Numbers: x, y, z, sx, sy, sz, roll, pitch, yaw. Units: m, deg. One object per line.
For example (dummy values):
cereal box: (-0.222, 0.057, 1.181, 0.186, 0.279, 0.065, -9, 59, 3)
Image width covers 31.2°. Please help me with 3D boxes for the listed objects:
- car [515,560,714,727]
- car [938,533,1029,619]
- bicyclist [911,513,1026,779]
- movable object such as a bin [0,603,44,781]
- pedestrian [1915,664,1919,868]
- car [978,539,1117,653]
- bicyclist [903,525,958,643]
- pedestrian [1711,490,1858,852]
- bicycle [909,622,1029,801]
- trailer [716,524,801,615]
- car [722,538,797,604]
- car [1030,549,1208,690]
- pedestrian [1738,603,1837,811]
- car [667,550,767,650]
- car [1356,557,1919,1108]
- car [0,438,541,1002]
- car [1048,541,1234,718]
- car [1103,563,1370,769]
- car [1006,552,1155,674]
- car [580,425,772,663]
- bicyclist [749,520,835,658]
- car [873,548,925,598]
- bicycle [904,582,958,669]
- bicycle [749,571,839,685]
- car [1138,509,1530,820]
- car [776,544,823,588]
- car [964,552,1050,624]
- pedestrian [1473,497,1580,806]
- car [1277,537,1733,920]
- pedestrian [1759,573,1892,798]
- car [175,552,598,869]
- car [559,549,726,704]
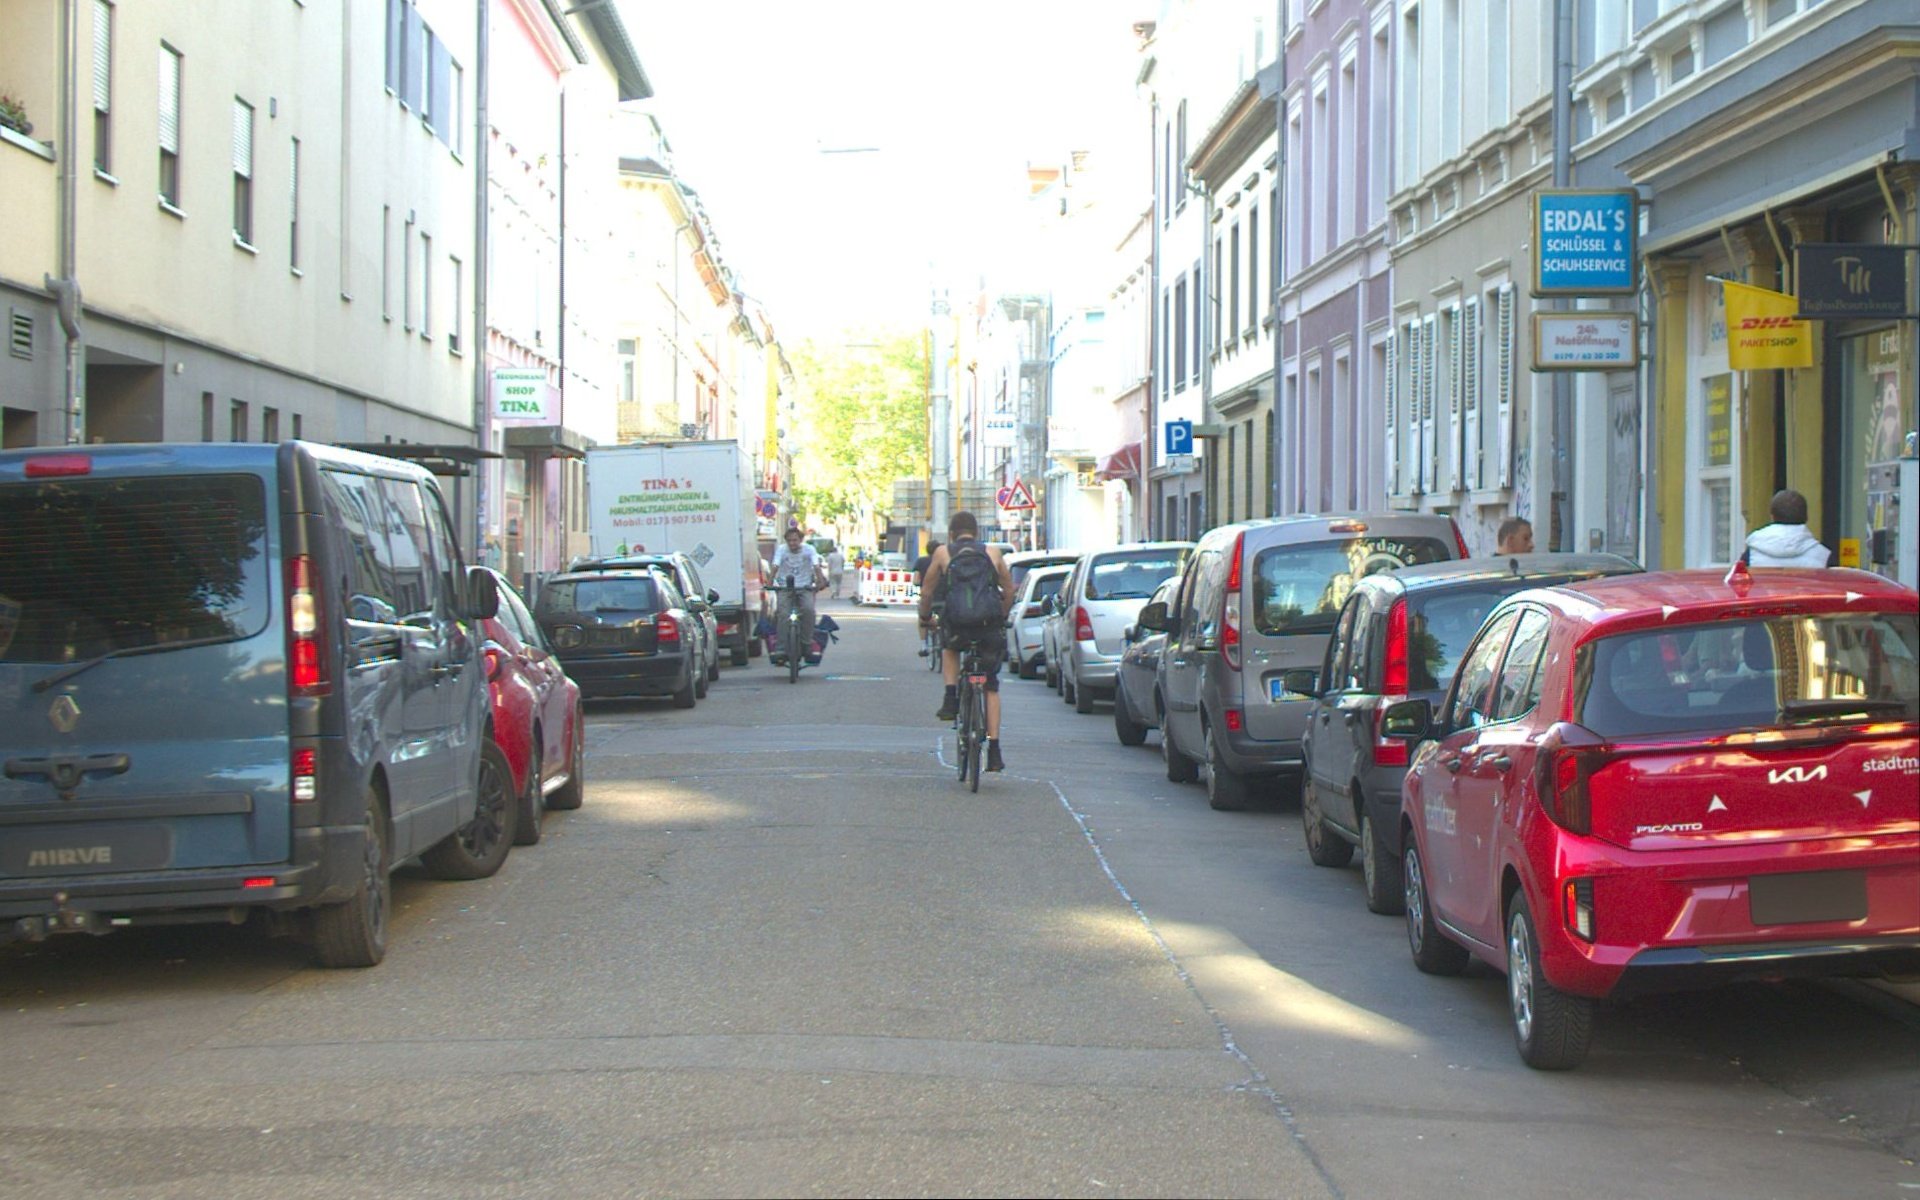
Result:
car: (-3.505, 0.391, 35.529, 1.716, 1.473, 4.499, -2, 2, -2)
car: (0.501, -0.544, 78.171, 1.750, 1.872, 3.973, -1, 0, -4)
bicyclist: (0.046, 0.288, 22.355, 0.667, 1.671, 1.097, 1, 0, -2)
movable object such as a bin: (-6.088, 0.546, 20.885, 0.759, 1.063, 0.651, 1, 0, 18)
pedestrian: (4.787, 0.369, 15.527, 0.628, 1.734, 0.659, 1, 0, -14)
car: (1.336, -0.091, 54.373, 1.918, 1.700, 4.366, 1, 1, -2)
bicyclist: (-0.398, -0.219, 46.451, 0.671, 1.562, 0.716, 1, 0, -3)
pedestrian: (4.028, 0.343, 16.812, 0.561, 1.734, 0.428, 1, 0, -4)
bicycle: (0.044, 0.700, 22.361, 0.677, 1.071, 1.942, 1, 0, -2)
trailer: (-4.746, -0.727, 81.338, 1.881, 2.085, 3.737, -1, 0, -2)
car: (-4.966, -0.719, 85.583, 1.750, 1.567, 3.796, -1, 0, -2)
car: (1.832, 0.204, 40.847, 1.696, 1.538, 4.629, -2, 0, -2)
pedestrian: (4.944, 0.631, 20.564, 0.438, 1.218, 0.514, 1, 0, 0)
car: (-4.629, -0.016, 65.949, 1.752, 1.810, 4.078, -2, 0, -2)
car: (2.426, 0.666, 11.696, 1.606, 1.567, 3.554, 1, 0, -2)
car: (-3.074, 0.341, 14.215, 2.020, 1.873, 5.297, 1, 1, 0)
car: (1.822, 0.277, 35.514, 1.556, 1.706, 3.559, 1, 0, -2)
car: (2.141, 0.481, 27.438, 1.552, 1.506, 3.612, 1, 0, -4)
car: (1.582, 0.155, 46.428, 1.686, 1.538, 4.046, -2, 0, -2)
car: (-4.177, -0.812, 51.779, 2.343, 3.280, 7.154, -2, 0, -1)
bicyclist: (-2.031, -0.141, 41.776, 0.950, 1.622, 0.953, -2, 1, 0)
car: (-1.998, -0.865, 111.698, 1.611, 1.555, 3.610, 1, 0, -2)
bicycle: (-0.398, 0.332, 46.480, 0.648, 1.126, 2.136, 1, 0, -2)
bicycle: (-2.016, 0.322, 42.056, 0.977, 1.310, 2.555, -1, 1, -1)
car: (2.314, 0.364, 22.393, 1.899, 1.787, 4.315, 1, 0, -2)
car: (-6.289, -1.324, 134.779, 1.750, 1.678, 3.796, -1, 0, -2)
car: (0.976, -0.263, 73.118, 1.750, 1.481, 3.800, -1, 0, 0)
pedestrian: (3.183, 0.283, 19.345, 0.441, 1.698, 0.655, 1, 0, -1)
car: (2.455, 0.534, 16.187, 1.570, 1.551, 3.314, -3, 0, 0)
pedestrian: (4.823, 0.468, 19.153, 0.531, 1.218, 0.513, 1, 0, 38)
car: (-3.088, 0.546, 19.231, 1.750, 1.517, 3.869, -3, 0, -1)
car: (-3.769, 0.274, 41.381, 1.716, 1.644, 4.246, -2, 2, -2)
